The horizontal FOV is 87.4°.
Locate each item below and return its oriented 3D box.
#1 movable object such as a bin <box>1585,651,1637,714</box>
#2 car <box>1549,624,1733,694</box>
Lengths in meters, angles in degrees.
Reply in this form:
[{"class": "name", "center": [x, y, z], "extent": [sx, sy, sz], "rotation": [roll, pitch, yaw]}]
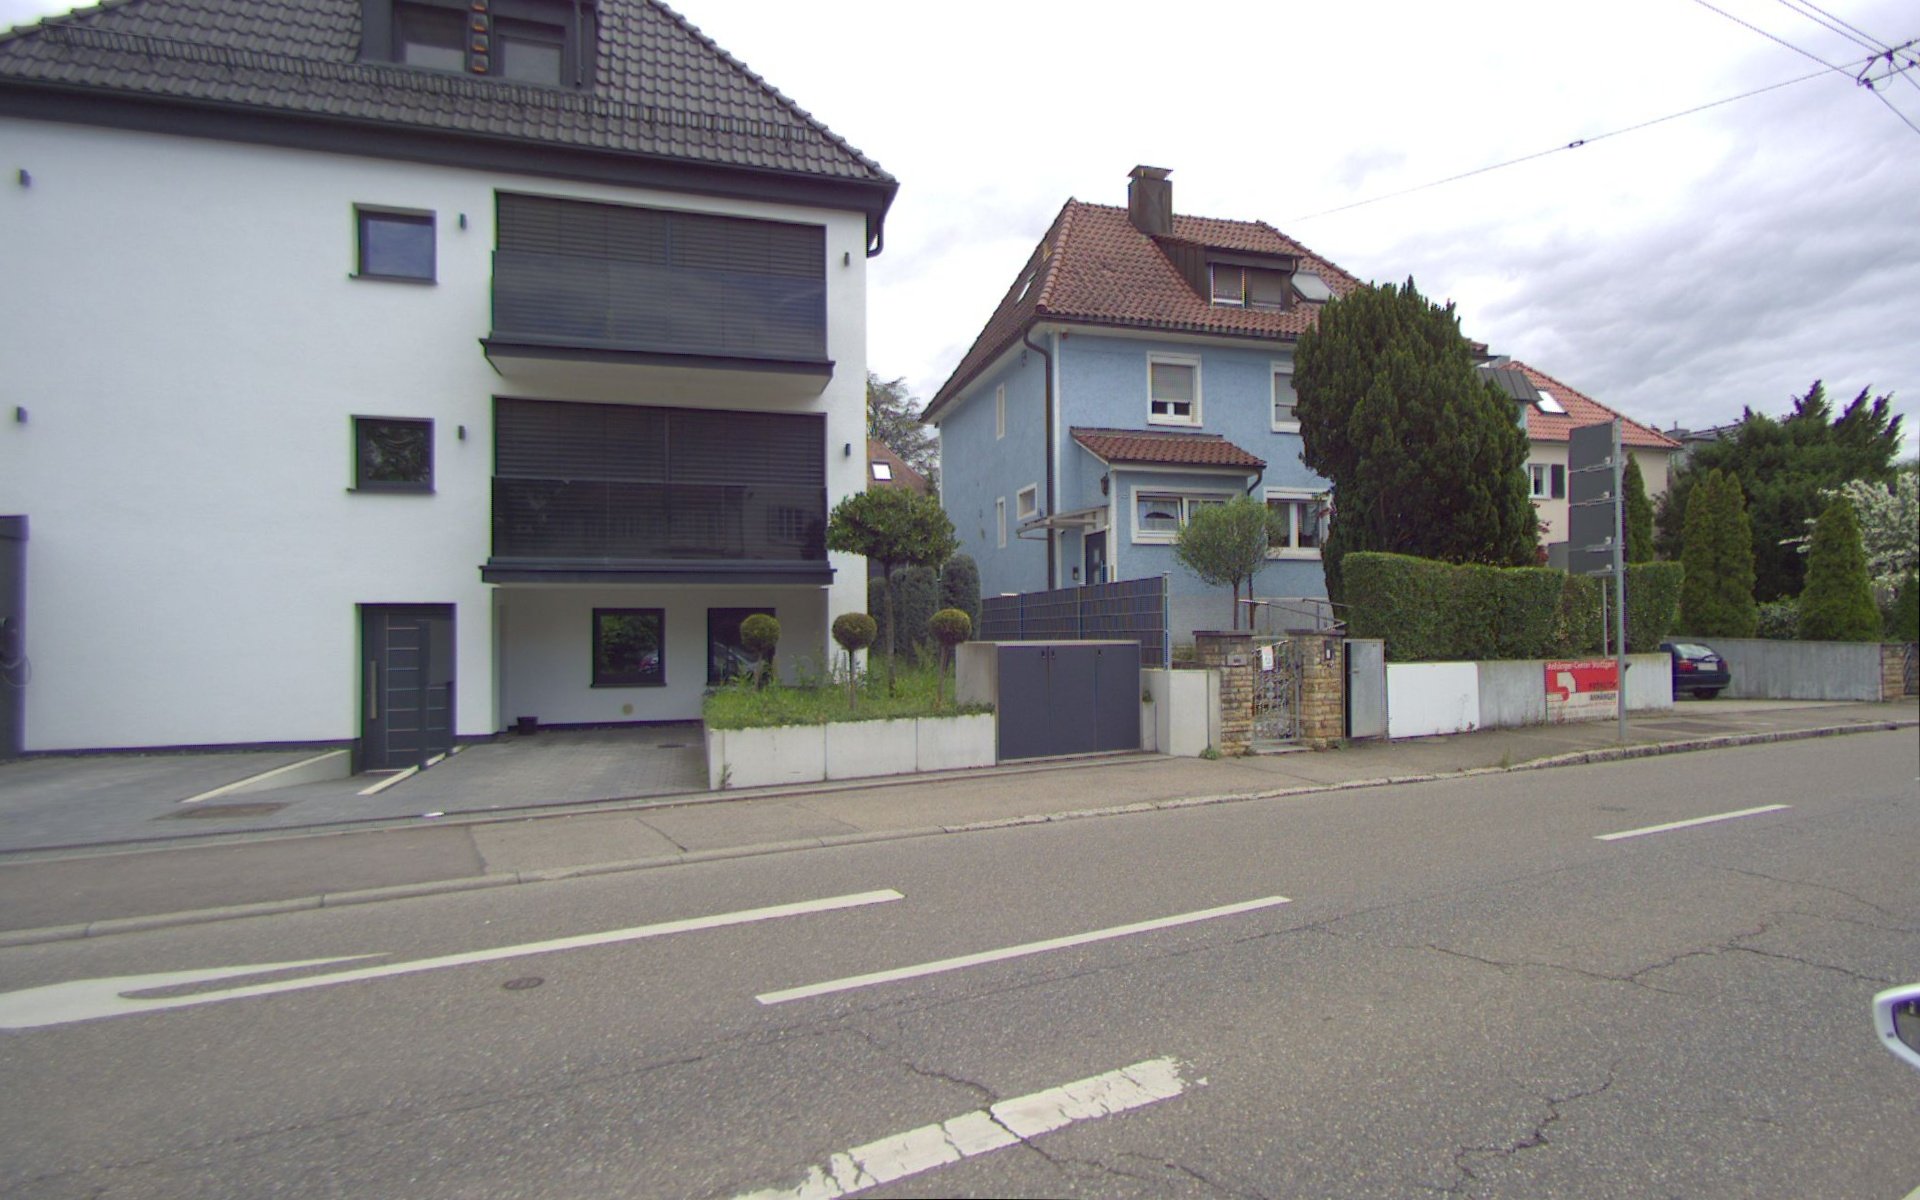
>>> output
[{"class": "movable object such as a bin", "center": [10.659, 1.341, 16.446], "extent": [0.533, 0.986, 0.505], "rotation": [1, -2, -27]}, {"class": "car", "center": [16.831, 1.465, 25.032], "extent": [1.615, 1.612, 3.590], "rotation": [1, -3, -16]}]
